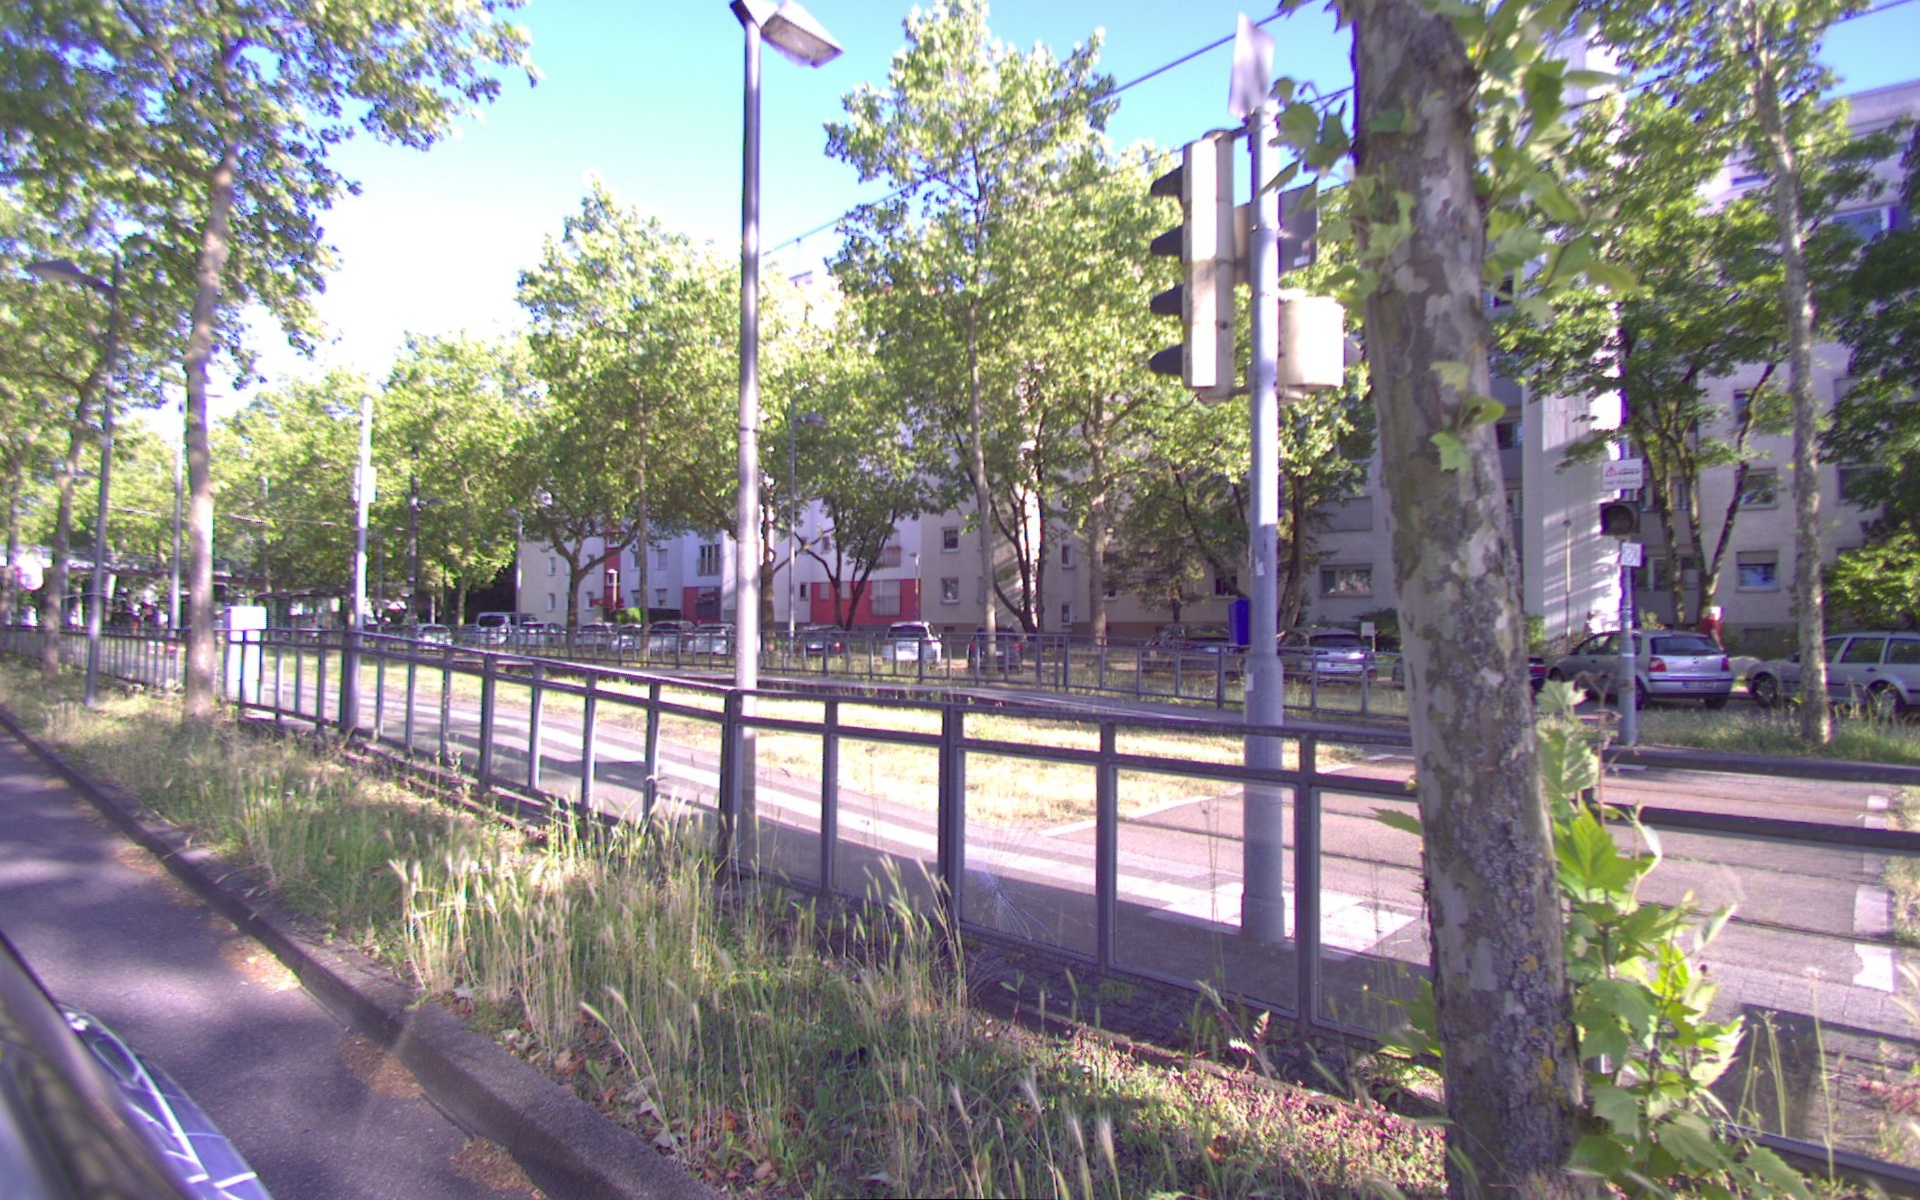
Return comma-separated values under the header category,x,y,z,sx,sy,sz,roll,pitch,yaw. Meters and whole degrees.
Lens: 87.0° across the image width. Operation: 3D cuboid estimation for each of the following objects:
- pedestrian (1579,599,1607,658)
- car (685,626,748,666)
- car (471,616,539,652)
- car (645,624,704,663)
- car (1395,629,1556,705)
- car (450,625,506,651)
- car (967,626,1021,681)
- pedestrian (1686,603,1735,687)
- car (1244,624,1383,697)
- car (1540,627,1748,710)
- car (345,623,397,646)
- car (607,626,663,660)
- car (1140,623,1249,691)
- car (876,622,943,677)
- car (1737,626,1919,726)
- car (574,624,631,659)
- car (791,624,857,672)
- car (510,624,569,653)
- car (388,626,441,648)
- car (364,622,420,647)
category,x,y,z,sx,sy,sz,roll,pitch,yaw
pedestrian,19.019,0.855,30.412,0.634,1.770,0.516,-1,-2,39
car,-9.803,1.839,40.998,1.470,1.425,3.880,-1,0,3
car,-24.033,1.778,53.611,1.843,1.826,4.048,0,-1,-1
car,-12.252,1.847,43.589,1.445,1.519,3.393,-1,0,3
car,10.886,1.360,21.675,1.572,1.360,3.922,-1,0,3
car,-26.573,2.074,55.874,1.459,1.354,3.487,0,-1,-1
car,1.072,1.588,30.966,1.538,1.439,3.761,-1,0,3
pedestrian,16.228,0.966,21.875,0.755,1.770,0.752,-1,-2,42
car,8.271,1.357,24.062,1.650,1.469,4.003,-1,0,-4
car,13.290,1.272,19.932,1.553,1.431,3.620,-1,-1,-1
car,-40.325,2.365,69.387,1.578,1.538,3.737,0,-1,-3
car,-14.672,1.913,45.817,1.459,1.339,3.488,-2,0,-1
car,5.963,1.405,26.181,1.669,1.499,4.003,-1,0,-3
car,-1.611,1.577,33.490,1.791,1.607,3.996,-1,0,3
car,15.648,1.221,17.230,1.685,1.454,3.978,-1,0,-1
car,-16.776,1.912,47.608,1.539,1.436,3.489,-3,0,-2
car,-4.777,1.669,36.013,1.609,1.499,3.996,-1,0,3
car,-21.525,1.961,51.897,1.605,1.414,3.487,0,-1,-1
car,-33.659,2.285,62.532,1.459,1.330,3.487,0,-1,-1
car,-36.175,2.172,64.503,1.578,1.582,3.830,0,-1,-3
